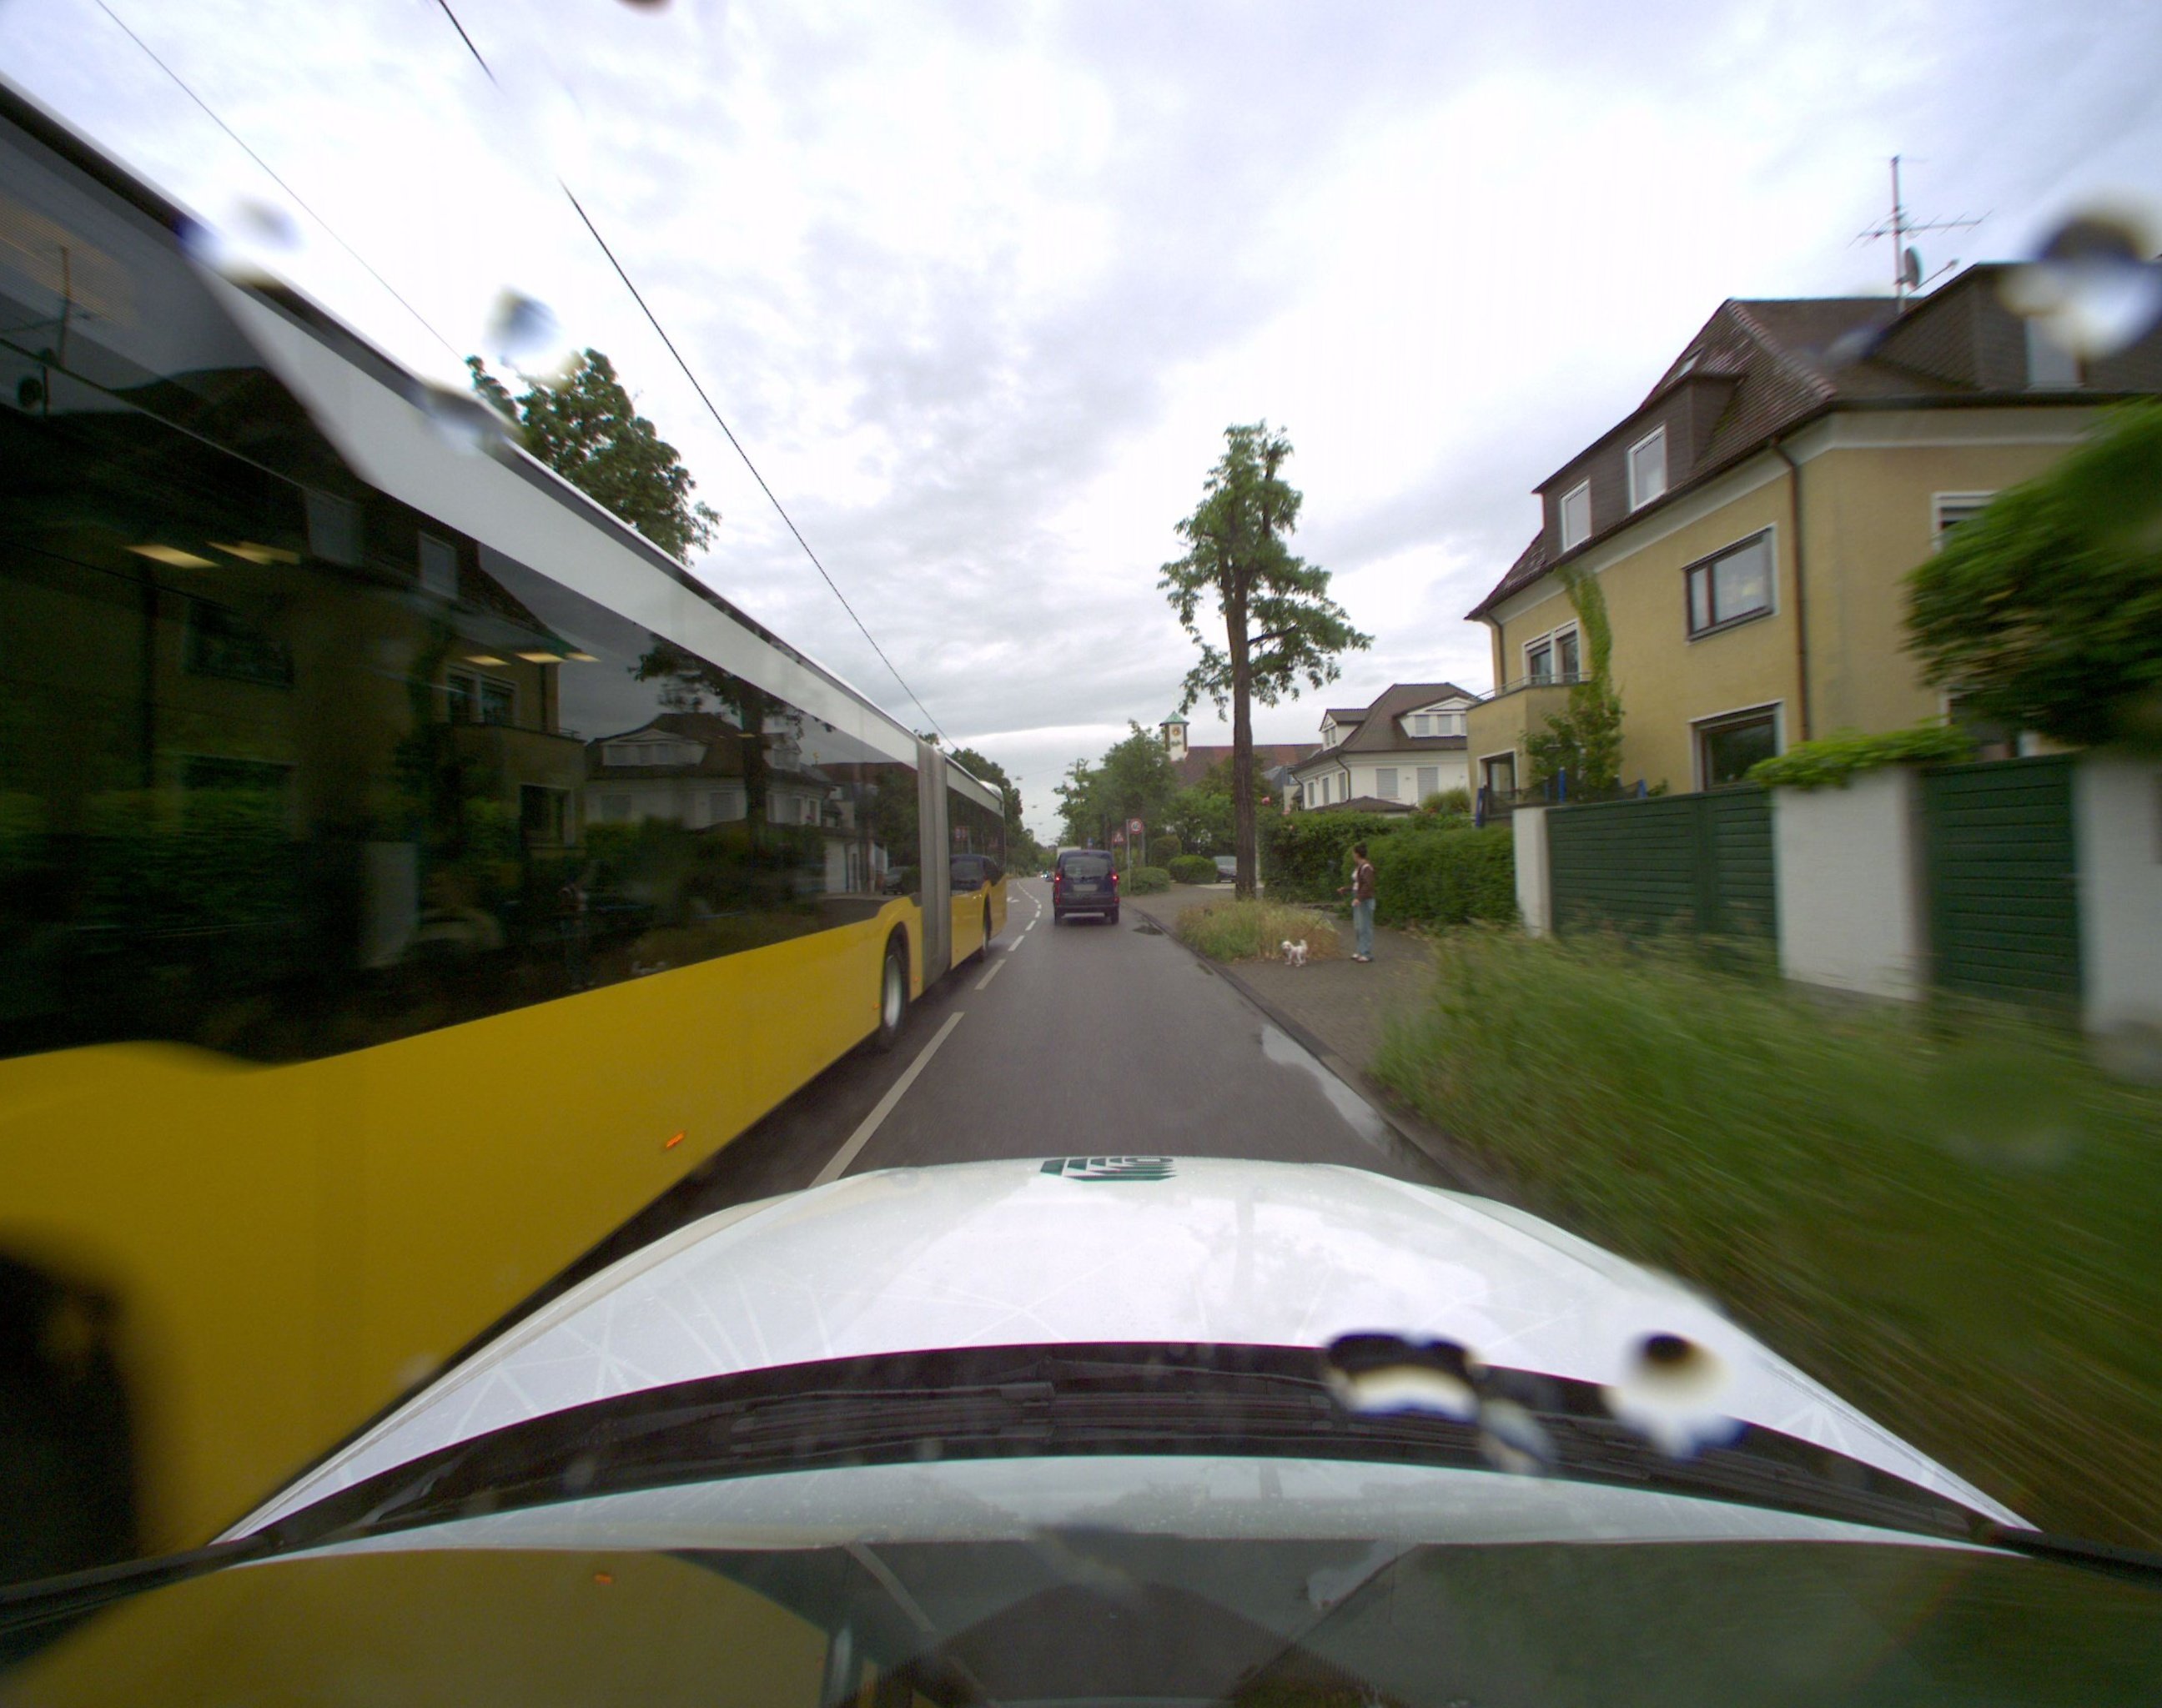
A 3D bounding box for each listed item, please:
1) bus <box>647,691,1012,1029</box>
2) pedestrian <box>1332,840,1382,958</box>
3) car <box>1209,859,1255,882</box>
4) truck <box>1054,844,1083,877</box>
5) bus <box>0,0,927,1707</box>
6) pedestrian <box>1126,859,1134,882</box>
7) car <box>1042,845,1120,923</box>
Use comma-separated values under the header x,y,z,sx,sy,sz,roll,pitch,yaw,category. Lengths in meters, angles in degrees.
x,y,z,sx,sy,sz,roll,pitch,yaw,category
-2.750,0.099,12.019,2.586,3.158,8.635,-1,-1,0,bus
3.665,0.587,10.822,0.480,1.534,0.439,-1,-1,-3,pedestrian
8.038,0.877,43.715,1.824,1.176,4.001,-1,-1,2,car
-1.430,0.726,89.117,2.726,3.387,6.676,-2,-1,-3,truck
-2.839,0.184,3.074,2.634,3.045,9.229,-1,-1,0,bus
3.716,1.241,62.027,0.558,1.708,0.517,-2,-1,6,pedestrian
0.001,0.743,21.393,1.803,1.797,3.999,-2,-1,0,car
